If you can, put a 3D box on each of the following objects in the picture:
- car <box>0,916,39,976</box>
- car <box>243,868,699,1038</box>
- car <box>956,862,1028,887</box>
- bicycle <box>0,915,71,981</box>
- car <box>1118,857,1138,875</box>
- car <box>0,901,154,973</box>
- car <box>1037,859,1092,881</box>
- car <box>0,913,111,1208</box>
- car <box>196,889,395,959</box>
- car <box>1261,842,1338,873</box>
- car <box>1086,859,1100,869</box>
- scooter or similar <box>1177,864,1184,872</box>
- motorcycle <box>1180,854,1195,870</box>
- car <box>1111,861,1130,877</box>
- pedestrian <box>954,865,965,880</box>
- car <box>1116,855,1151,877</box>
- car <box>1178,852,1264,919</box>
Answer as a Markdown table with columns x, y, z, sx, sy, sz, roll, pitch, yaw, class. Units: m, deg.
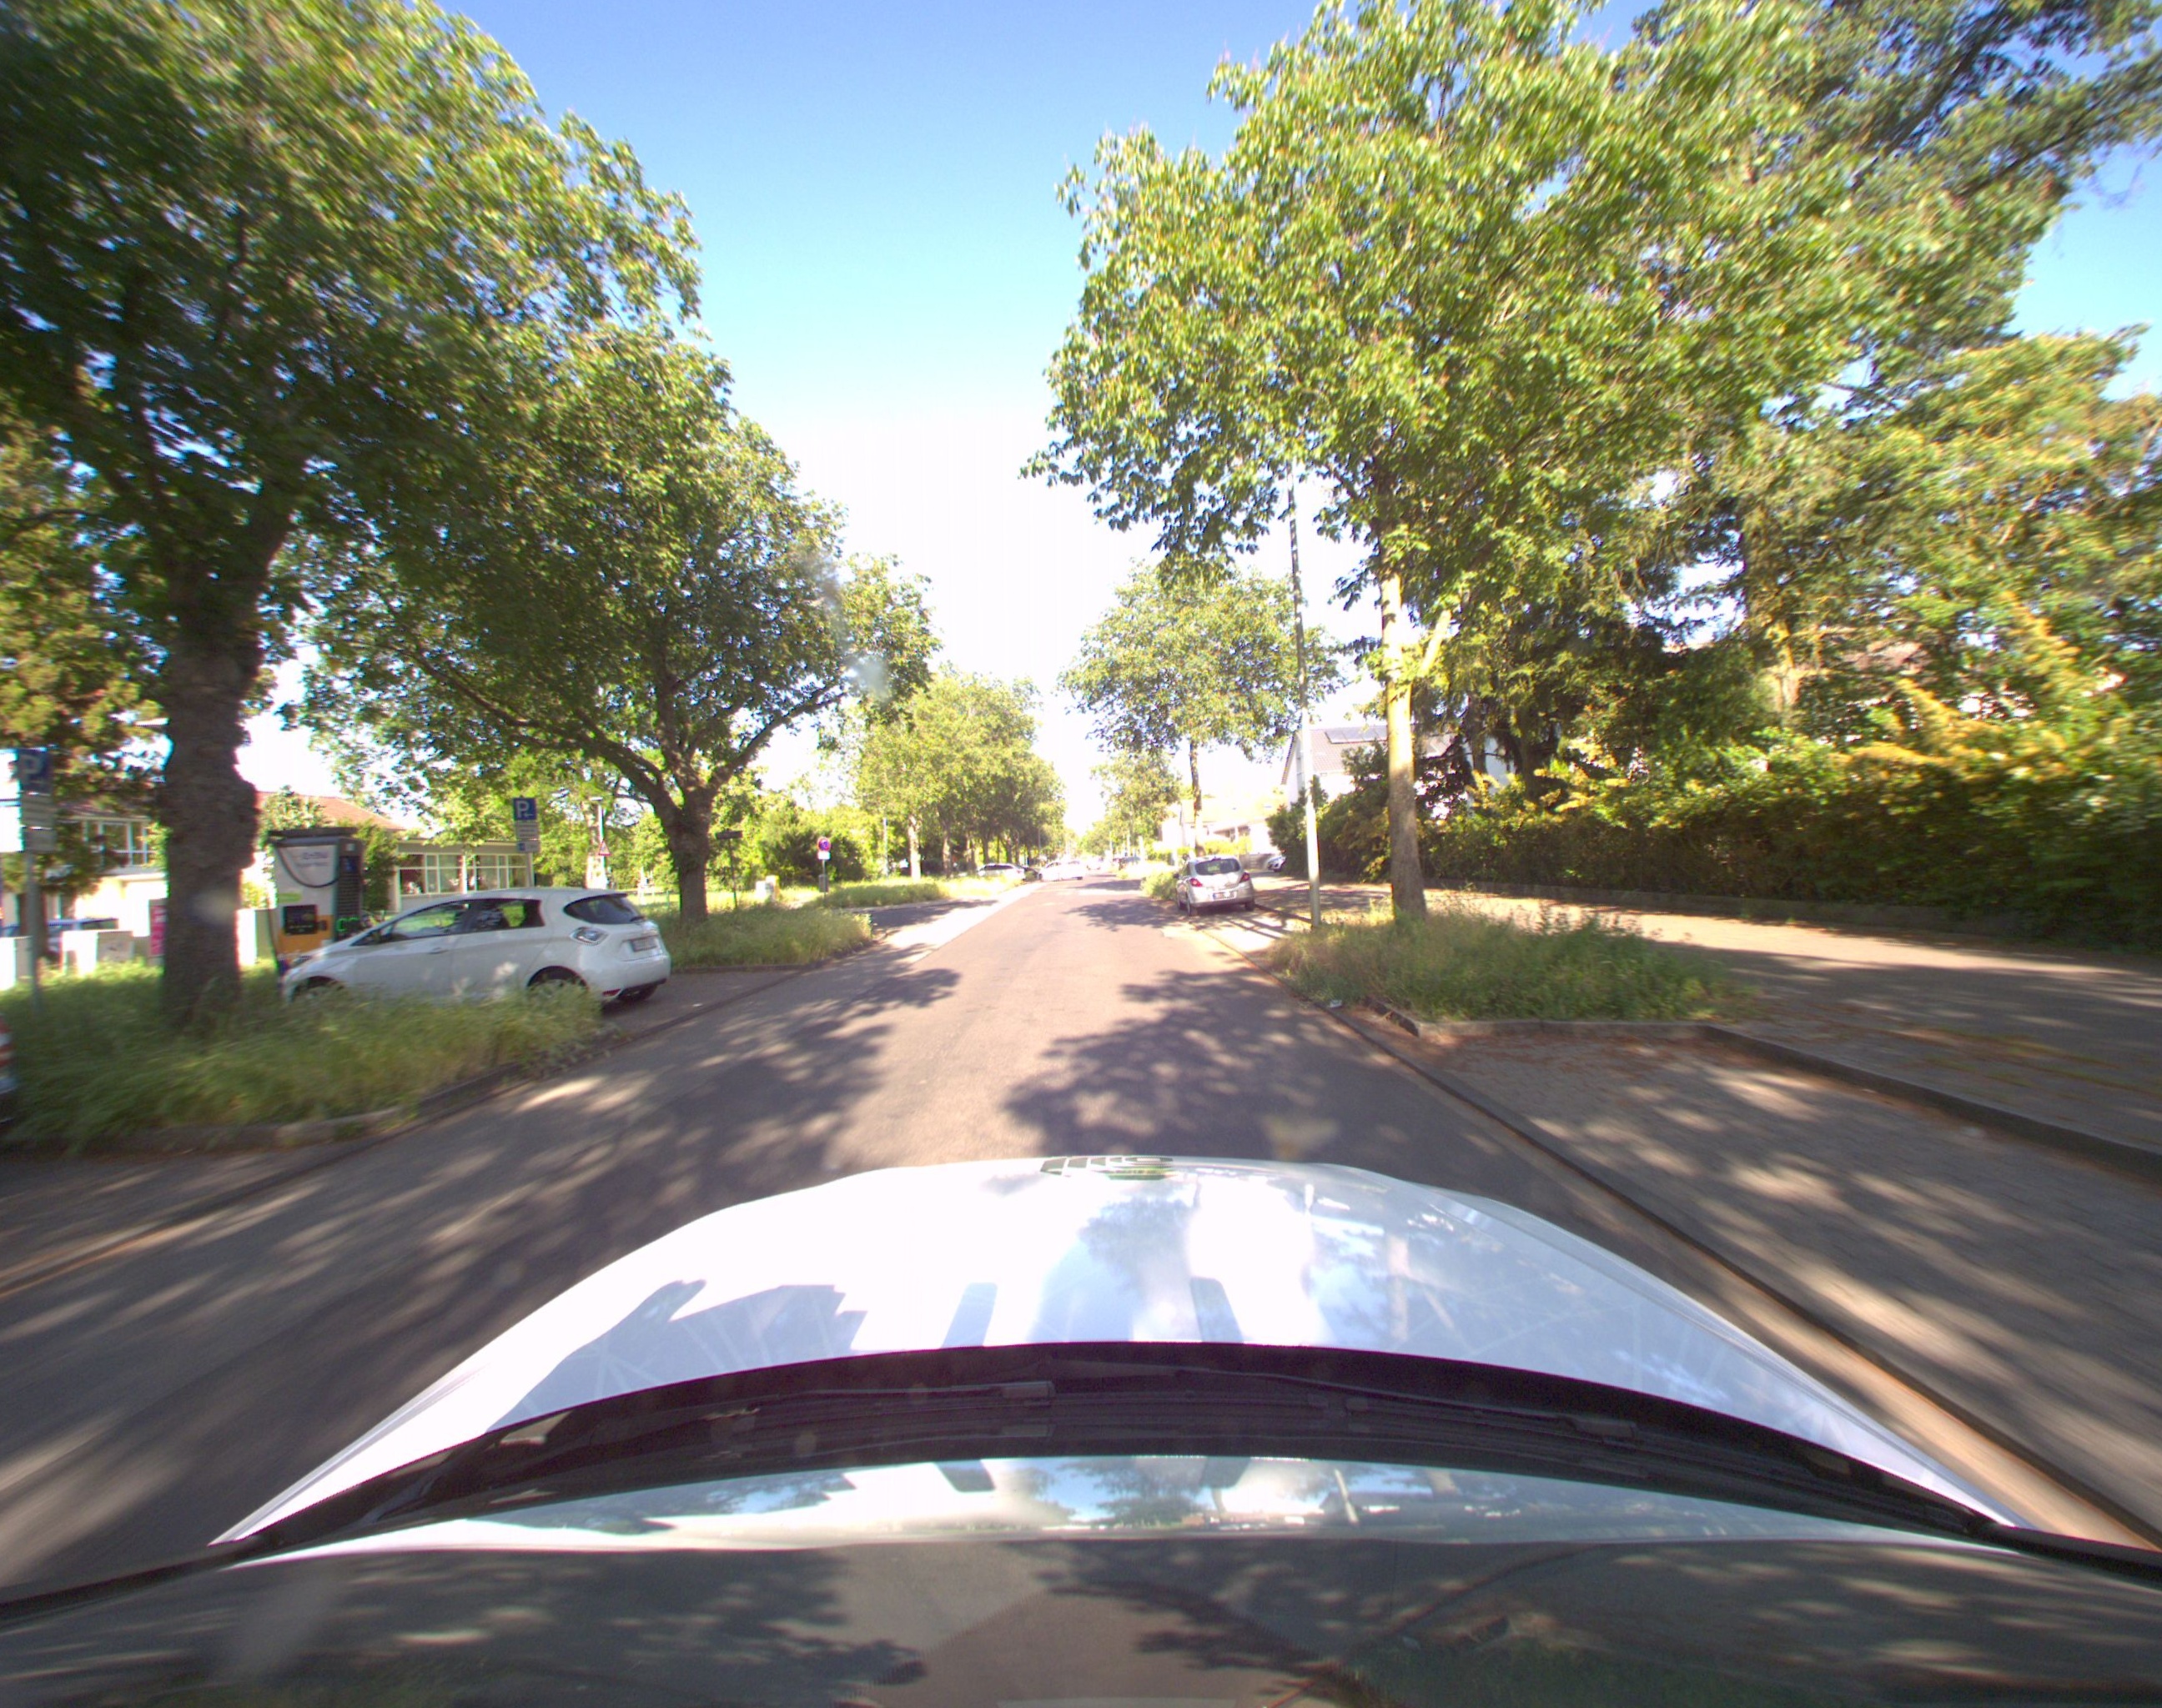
| x | y | z | sx | sy | sz | roll | pitch | yaw | class |
| --- | --- | --- | --- | --- | --- | --- | --- | --- | --- |
| -27.206 | 2.159 | 18.549 | 3.983 | 1.367 | 1.995 | 0 | -1 | -7 | car |
| -7.162 | 1.101 | 9.945 | 3.975 | 1.661 | 1.966 | -2 | 0 | -1 | car |
| -6.080 | 1.413 | 56.213 | 4.654 | 1.503 | 2.001 | -2 | -1 | 1 | car |
| -20.873 | 1.858 | 14.928 | 0.705 | 1.176 | 4.034 | -3 | 0 | -16 | bicycle |
| 4.242 | 1.073 | 74.071 | 1.604 | 1.622 | 4.382 | 0 | -1 | 1 | car |
| -29.969 | 2.402 | 23.539 | 3.974 | 1.820 | 2.000 | -3 | 0 | 0 | car |
| -1.251 | 1.161 | 58.419 | 2.008 | 1.455 | 4.180 | -2 | -1 | -33 | car |
| -7.921 | 1.134 | 3.921 | 3.975 | 1.589 | 1.999 | 0 | -1 | -1 | car |
| -22.919 | 2.015 | 23.868 | 3.974 | 1.714 | 1.822 | -3 | 0 | 0 | car |
| 12.971 | 0.211 | 48.486 | 3.982 | 1.640 | 1.773 | -3 | 0 | -6 | car |
| 1.702 | 1.496 | 118.960 | 1.988 | 1.508 | 3.656 | 0 | -1 | -1 | car |
| 10.824 | 1.519 | 88.650 | 0.368 | 0.858 | 1.405 | -1 | -1 | -13 | scooter or similar |
| 8.421 | 0.639 | 64.433 | 0.815 | 1.227 | 2.351 | -4 | 0 | 0 | motorcycle |
| 4.897 | 1.879 | 101.202 | 1.988 | 1.728 | 3.997 | -5 | -1 | -2 | car |
| -14.904 | 2.312 | 99.904 | 1.227 | 1.827 | 1.542 | -1 | -2 | -16 | pedestrian |
| 3.973 | 0.951 | 62.308 | 1.991 | 1.622 | 4.373 | 0 | -1 | -5 | car |
| 3.705 | 0.817 | 22.068 | 1.983 | 1.510 | 4.008 | -4 | -1 | 7 | car |
